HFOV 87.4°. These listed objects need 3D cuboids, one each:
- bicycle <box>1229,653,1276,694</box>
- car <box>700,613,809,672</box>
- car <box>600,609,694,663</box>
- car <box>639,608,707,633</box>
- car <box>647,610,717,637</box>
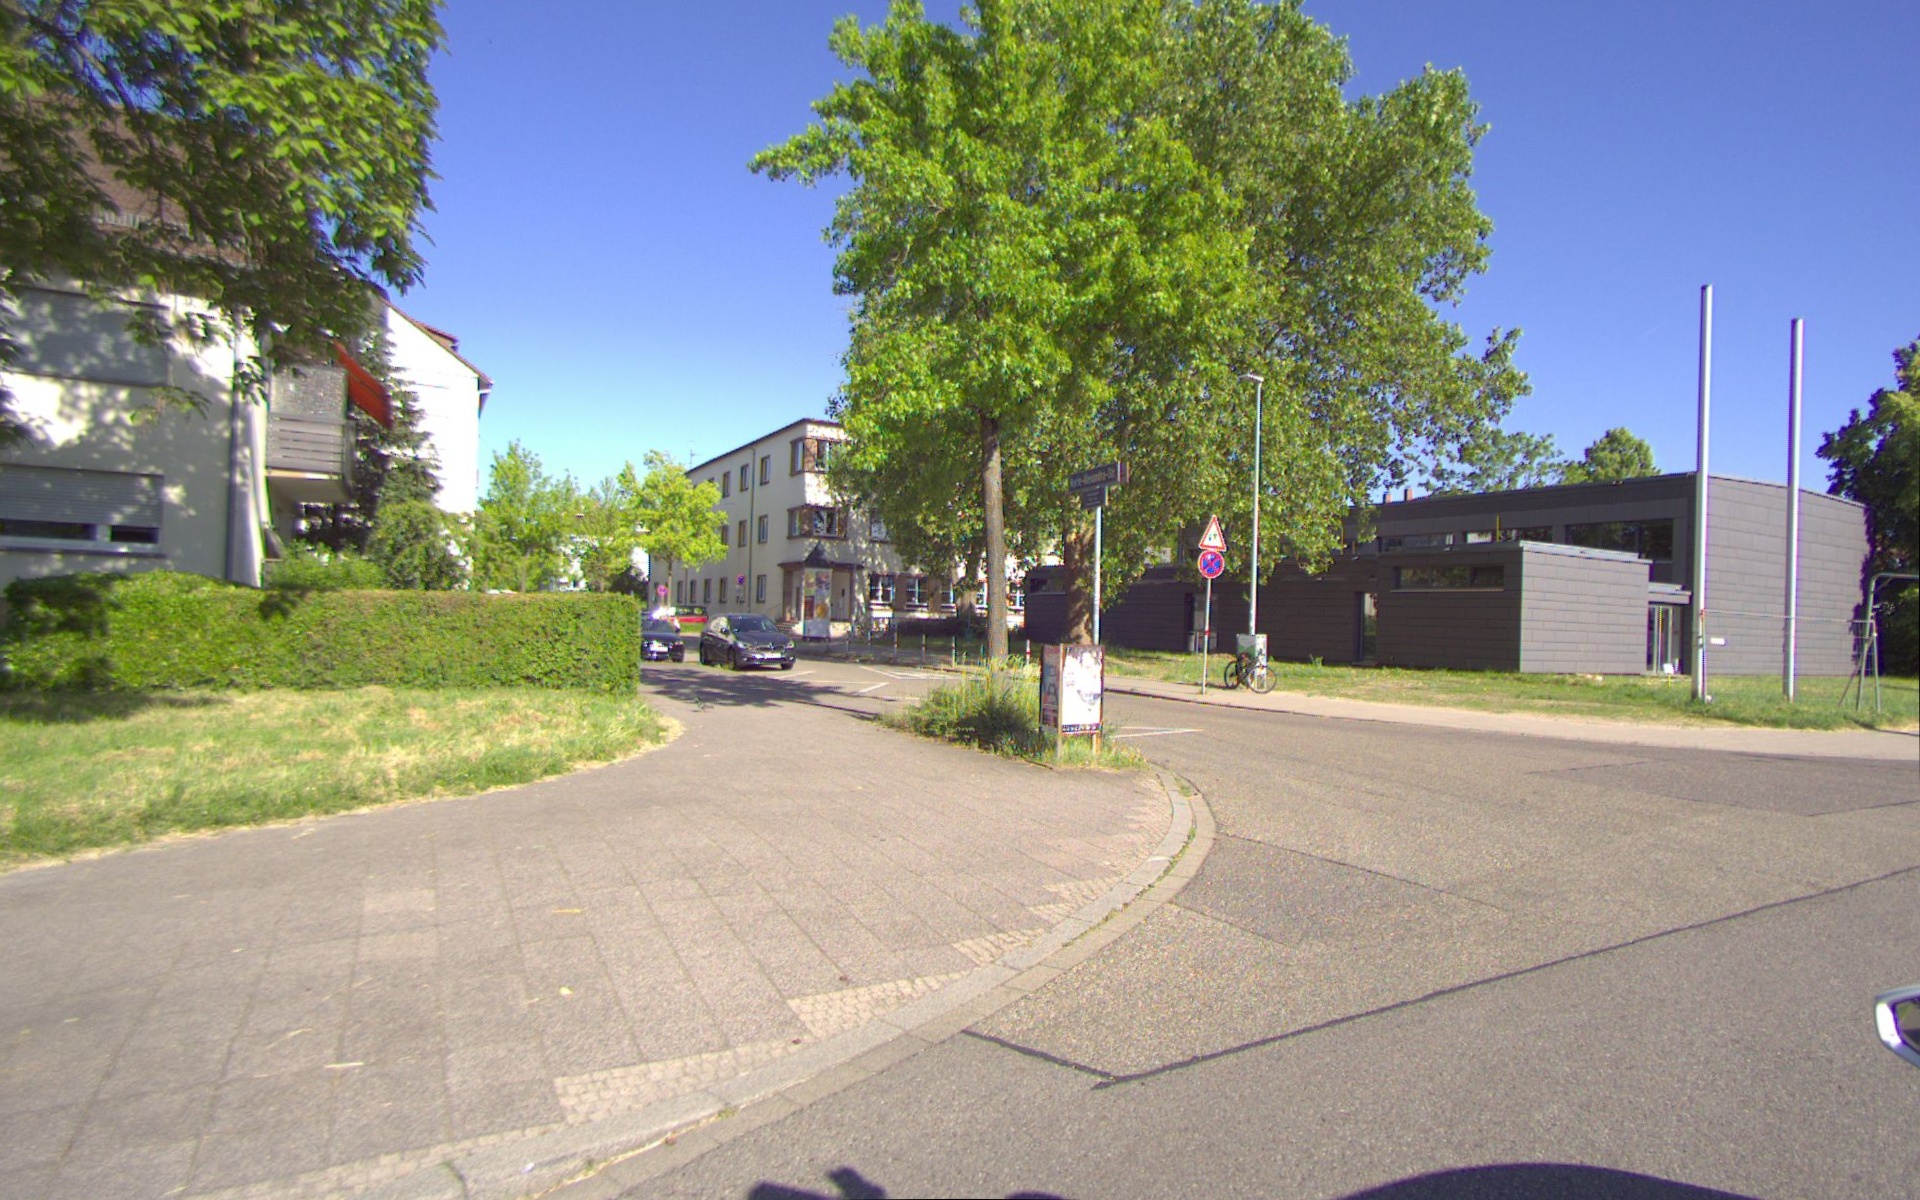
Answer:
[{"bbox_3d":[6.614,1.650,22.706,0.999,0.899,0.440,0,-1,16],"label":"bicycle"},{"bbox_3d":[-5.961,1.187,28.838,1.935,1.568,3.698,1,-1,-31],"label":"car"},{"bbox_3d":[-9.739,1.088,31.112,1.935,1.568,3.698,1,-1,-31],"label":"car"},{"bbox_3d":[-20.593,1.491,72.070,4.397,1.568,1.946,3,-1,-24],"label":"car"},{"bbox_3d":[-19.324,1.630,69.814,4.398,1.568,1.946,4,-1,-24],"label":"car"}]
